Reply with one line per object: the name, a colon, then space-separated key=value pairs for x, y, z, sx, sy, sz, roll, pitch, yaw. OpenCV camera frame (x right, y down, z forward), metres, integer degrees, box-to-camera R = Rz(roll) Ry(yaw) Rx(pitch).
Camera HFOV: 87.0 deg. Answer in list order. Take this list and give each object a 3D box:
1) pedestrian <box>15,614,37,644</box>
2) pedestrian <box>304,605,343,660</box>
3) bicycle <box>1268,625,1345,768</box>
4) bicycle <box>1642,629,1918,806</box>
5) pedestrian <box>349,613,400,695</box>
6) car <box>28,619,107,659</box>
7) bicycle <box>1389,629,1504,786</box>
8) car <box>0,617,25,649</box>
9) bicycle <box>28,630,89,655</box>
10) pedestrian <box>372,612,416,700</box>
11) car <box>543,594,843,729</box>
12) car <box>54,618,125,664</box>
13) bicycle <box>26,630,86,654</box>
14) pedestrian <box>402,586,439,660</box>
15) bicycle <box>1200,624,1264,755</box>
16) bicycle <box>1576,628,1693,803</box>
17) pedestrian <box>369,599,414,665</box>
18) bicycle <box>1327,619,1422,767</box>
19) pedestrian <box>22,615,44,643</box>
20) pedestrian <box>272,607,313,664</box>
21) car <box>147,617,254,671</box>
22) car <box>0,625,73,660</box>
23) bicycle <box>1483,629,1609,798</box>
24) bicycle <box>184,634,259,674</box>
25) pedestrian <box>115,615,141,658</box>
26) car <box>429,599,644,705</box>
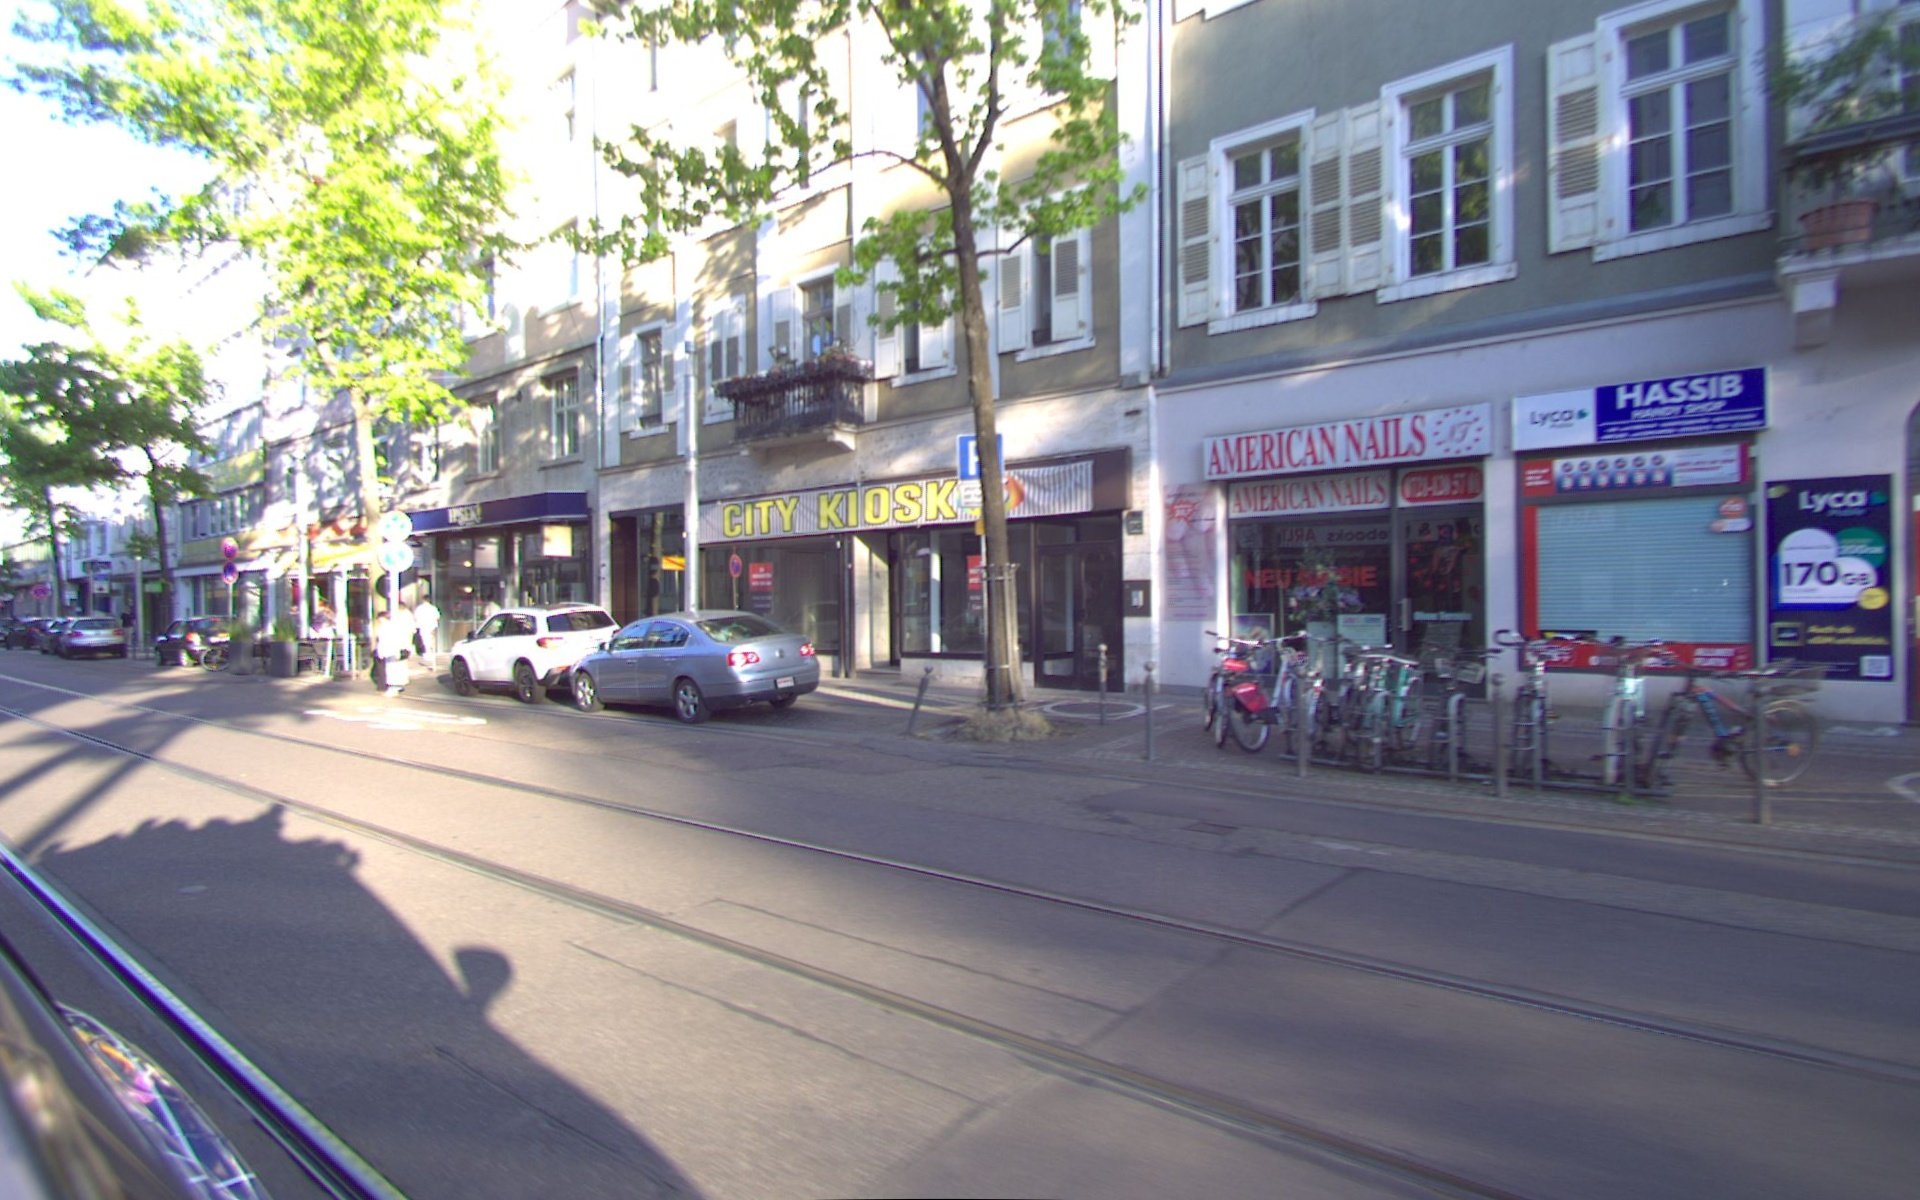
pedestrian: x=-56.383 y=1.752 z=61.074 sx=0.830 sy=1.779 sz=0.843 roll=-2 pitch=-1 yaw=37
pedestrian: x=-19.940 y=1.008 z=31.695 sx=0.912 sy=1.706 sz=0.781 roll=-2 pitch=-1 yaw=38
bicycle: x=3.284 y=0.851 z=9.699 sx=0.496 sy=1.113 sz=2.106 roll=-1 pitch=1 yaw=14
bicycle: x=6.006 y=0.816 z=7.405 sx=1.996 sy=1.113 sz=0.502 roll=-2 pitch=1 yaw=-16
pedestrian: x=-11.105 y=1.003 z=19.186 sx=0.729 sy=1.521 sz=0.613 roll=0 pitch=-1 yaw=40
car: x=-36.366 y=1.562 z=41.207 sx=4.482 sy=1.472 sz=1.694 roll=-1 pitch=1 yaw=40
bicycle: x=4.223 y=0.867 z=8.912 sx=0.496 sy=1.113 sz=2.021 roll=-1 pitch=1 yaw=14
car: x=-50.200 y=1.735 z=52.810 sx=1.609 sy=1.628 sz=3.717 roll=-3 pitch=1 yaw=-36
bicycle: x=-39.053 y=1.844 z=43.864 sx=0.330 sy=1.009 sz=1.950 roll=-1 pitch=-1 yaw=41
pedestrian: x=-10.466 y=1.016 z=18.715 sx=0.633 sy=1.581 sz=0.516 roll=0 pitch=-1 yaw=40
car: x=-4.042 y=0.804 z=14.877 sx=4.698 sy=1.591 sz=1.818 roll=-1 pitch=3 yaw=40
car: x=-31.682 y=1.437 z=36.812 sx=1.746 sy=1.508 sz=4.178 roll=-1 pitch=0 yaw=-44
bicycle: x=-40.244 y=1.858 z=45.081 sx=0.330 sy=1.009 sz=1.950 roll=-1 pitch=-1 yaw=41
pedestrian: x=-15.165 y=0.634 z=28.439 sx=0.642 sy=2.029 sz=0.715 roll=-1 pitch=-1 yaw=39
bicycle: x=2.775 y=0.857 z=10.404 sx=0.562 sy=1.113 sz=1.943 roll=-1 pitch=1 yaw=14
bicycle: x=5.365 y=0.837 z=7.996 sx=0.501 sy=1.113 sz=2.002 roll=0 pitch=2 yaw=41
pedestrian: x=-15.660 y=0.872 z=27.877 sx=1.089 sy=1.774 sz=0.715 roll=-1 pitch=-1 yaw=39
bicycle: x=3.756 y=0.778 z=9.289 sx=0.496 sy=1.113 sz=2.021 roll=-1 pitch=1 yaw=14
pedestrian: x=-59.462 y=1.862 z=64.908 sx=1.037 sy=1.708 sz=0.824 roll=-2 pitch=1 yaw=39
pedestrian: x=-20.211 y=1.068 z=30.644 sx=0.739 sy=1.706 sz=0.835 roll=-2 pitch=-1 yaw=38
car: x=-23.045 y=1.299 z=30.681 sx=3.823 sy=1.439 sz=1.650 roll=-1 pitch=2 yaw=39
car: x=-43.805 y=2.003 z=47.789 sx=4.230 sy=1.501 sz=1.778 roll=-1 pitch=1 yaw=33
bicycle: x=4.813 y=0.850 z=8.245 sx=0.501 sy=1.113 sz=2.002 roll=0 pitch=2 yaw=41
bicycle: x=-20.232 y=1.477 z=27.755 sx=0.433 sy=0.972 sz=1.598 roll=-2 pitch=1 yaw=44
pedestrian: x=-36.858 y=1.604 z=44.807 sx=0.878 sy=1.839 sz=0.653 roll=-2 pitch=2 yaw=39
car: x=-7.711 y=0.870 z=18.278 sx=4.113 sy=1.591 sz=1.818 roll=-1 pitch=3 yaw=40
